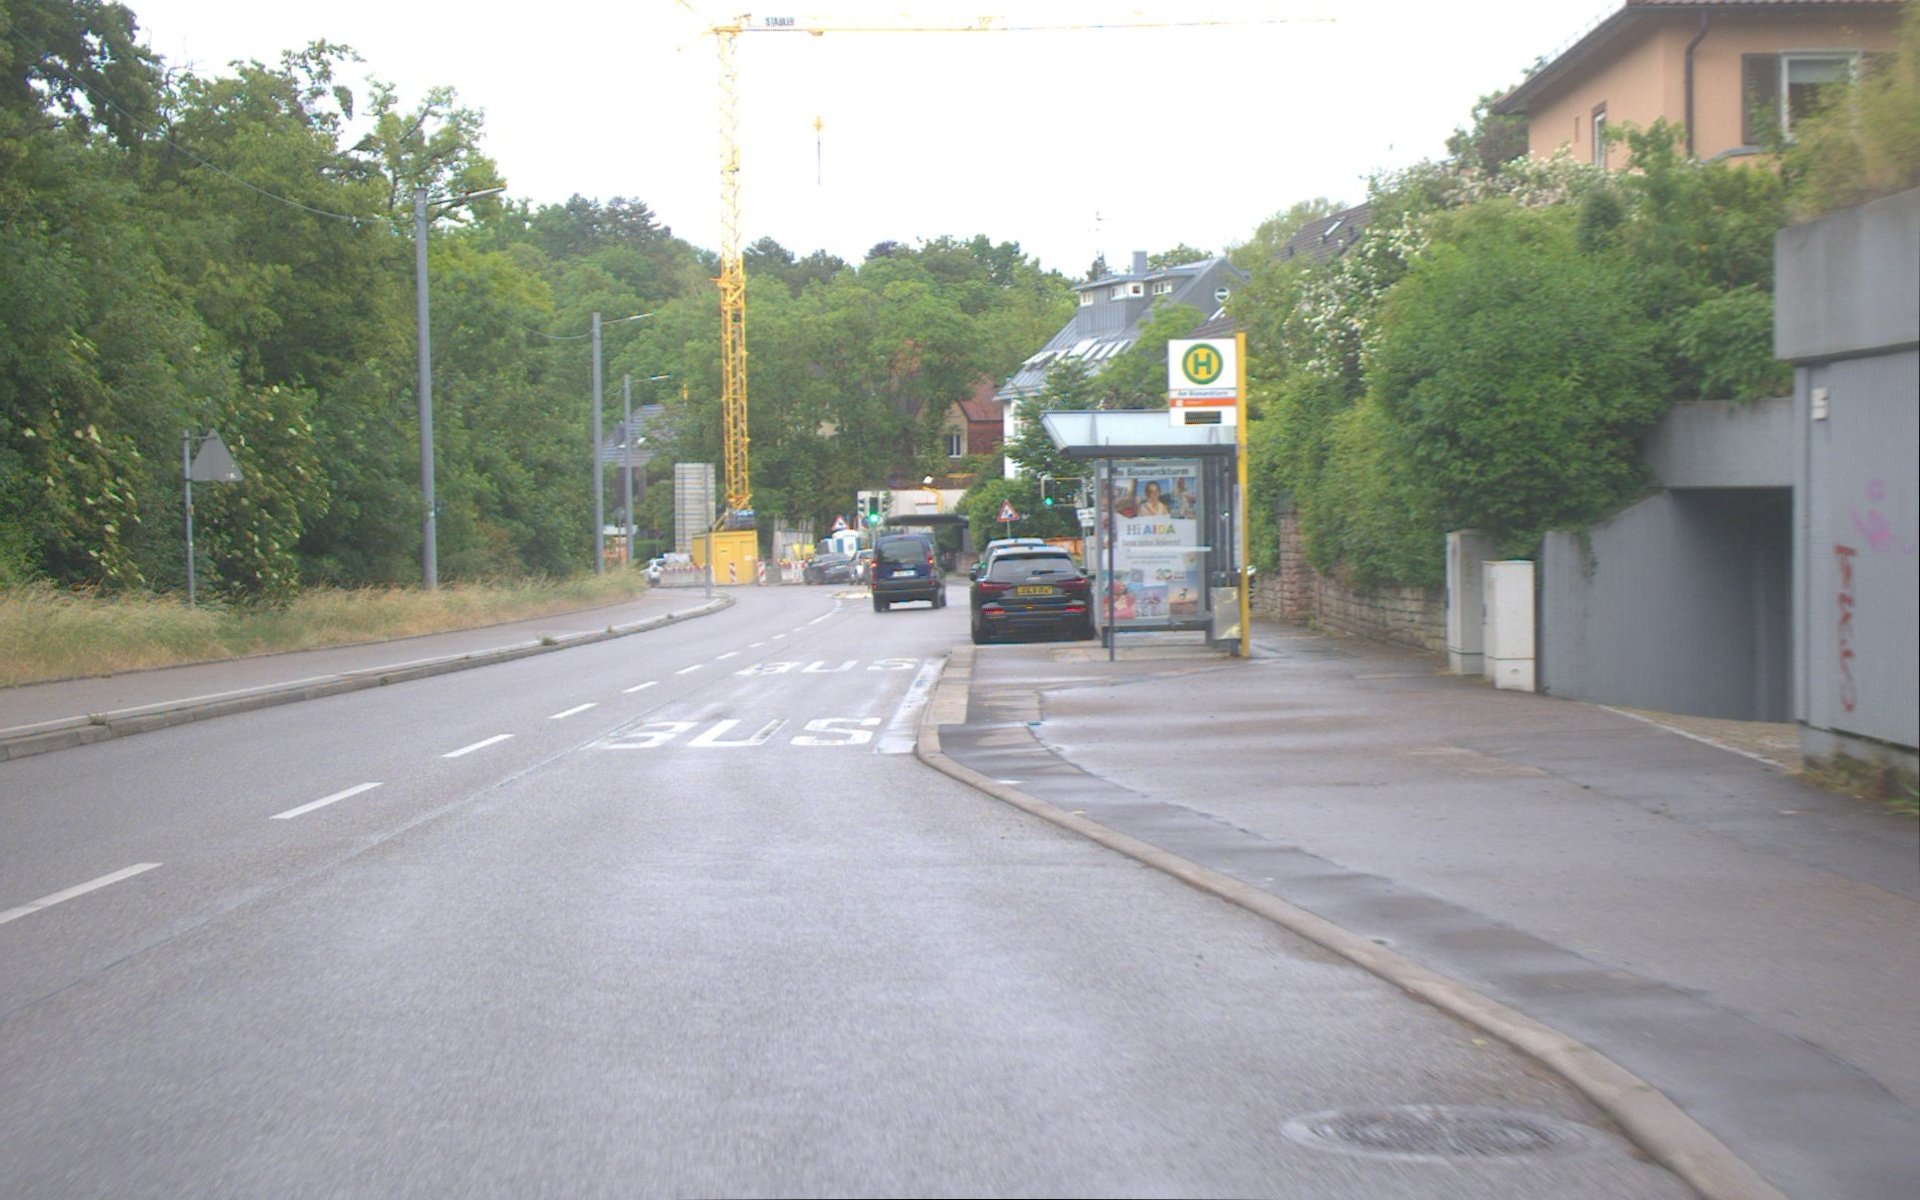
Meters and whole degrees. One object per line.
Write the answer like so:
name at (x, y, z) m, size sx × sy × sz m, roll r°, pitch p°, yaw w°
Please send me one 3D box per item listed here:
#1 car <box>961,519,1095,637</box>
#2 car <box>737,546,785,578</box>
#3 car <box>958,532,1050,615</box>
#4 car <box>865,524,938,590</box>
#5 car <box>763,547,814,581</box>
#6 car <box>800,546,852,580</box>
car at (1.052, -0.360, 53.417) m, size 1.993 × 1.766 × 4.114 m, roll 0°, pitch 1°, yaw 1°
car at (-9.848, -1.902, 170.208) m, size 1.739 × 1.546 × 3.857 m, roll 0°, pitch 1°, yaw -13°
car at (1.004, -0.613, 76.984) m, size 1.993 × 1.766 × 4.114 m, roll 1°, pitch 1°, yaw 1°
car at (-1.420, -1.076, 84.865) m, size 1.667 × 1.588 × 3.683 m, roll 0°, pitch 1°, yaw 1°
car at (-8.227, -1.742, 164.688) m, size 1.739 × 1.547 × 3.857 m, roll 1°, pitch 1°, yaw -13°
car at (-6.187, -1.723, 158.636) m, size 1.739 × 1.546 × 3.857 m, roll 0°, pitch 1°, yaw -13°
